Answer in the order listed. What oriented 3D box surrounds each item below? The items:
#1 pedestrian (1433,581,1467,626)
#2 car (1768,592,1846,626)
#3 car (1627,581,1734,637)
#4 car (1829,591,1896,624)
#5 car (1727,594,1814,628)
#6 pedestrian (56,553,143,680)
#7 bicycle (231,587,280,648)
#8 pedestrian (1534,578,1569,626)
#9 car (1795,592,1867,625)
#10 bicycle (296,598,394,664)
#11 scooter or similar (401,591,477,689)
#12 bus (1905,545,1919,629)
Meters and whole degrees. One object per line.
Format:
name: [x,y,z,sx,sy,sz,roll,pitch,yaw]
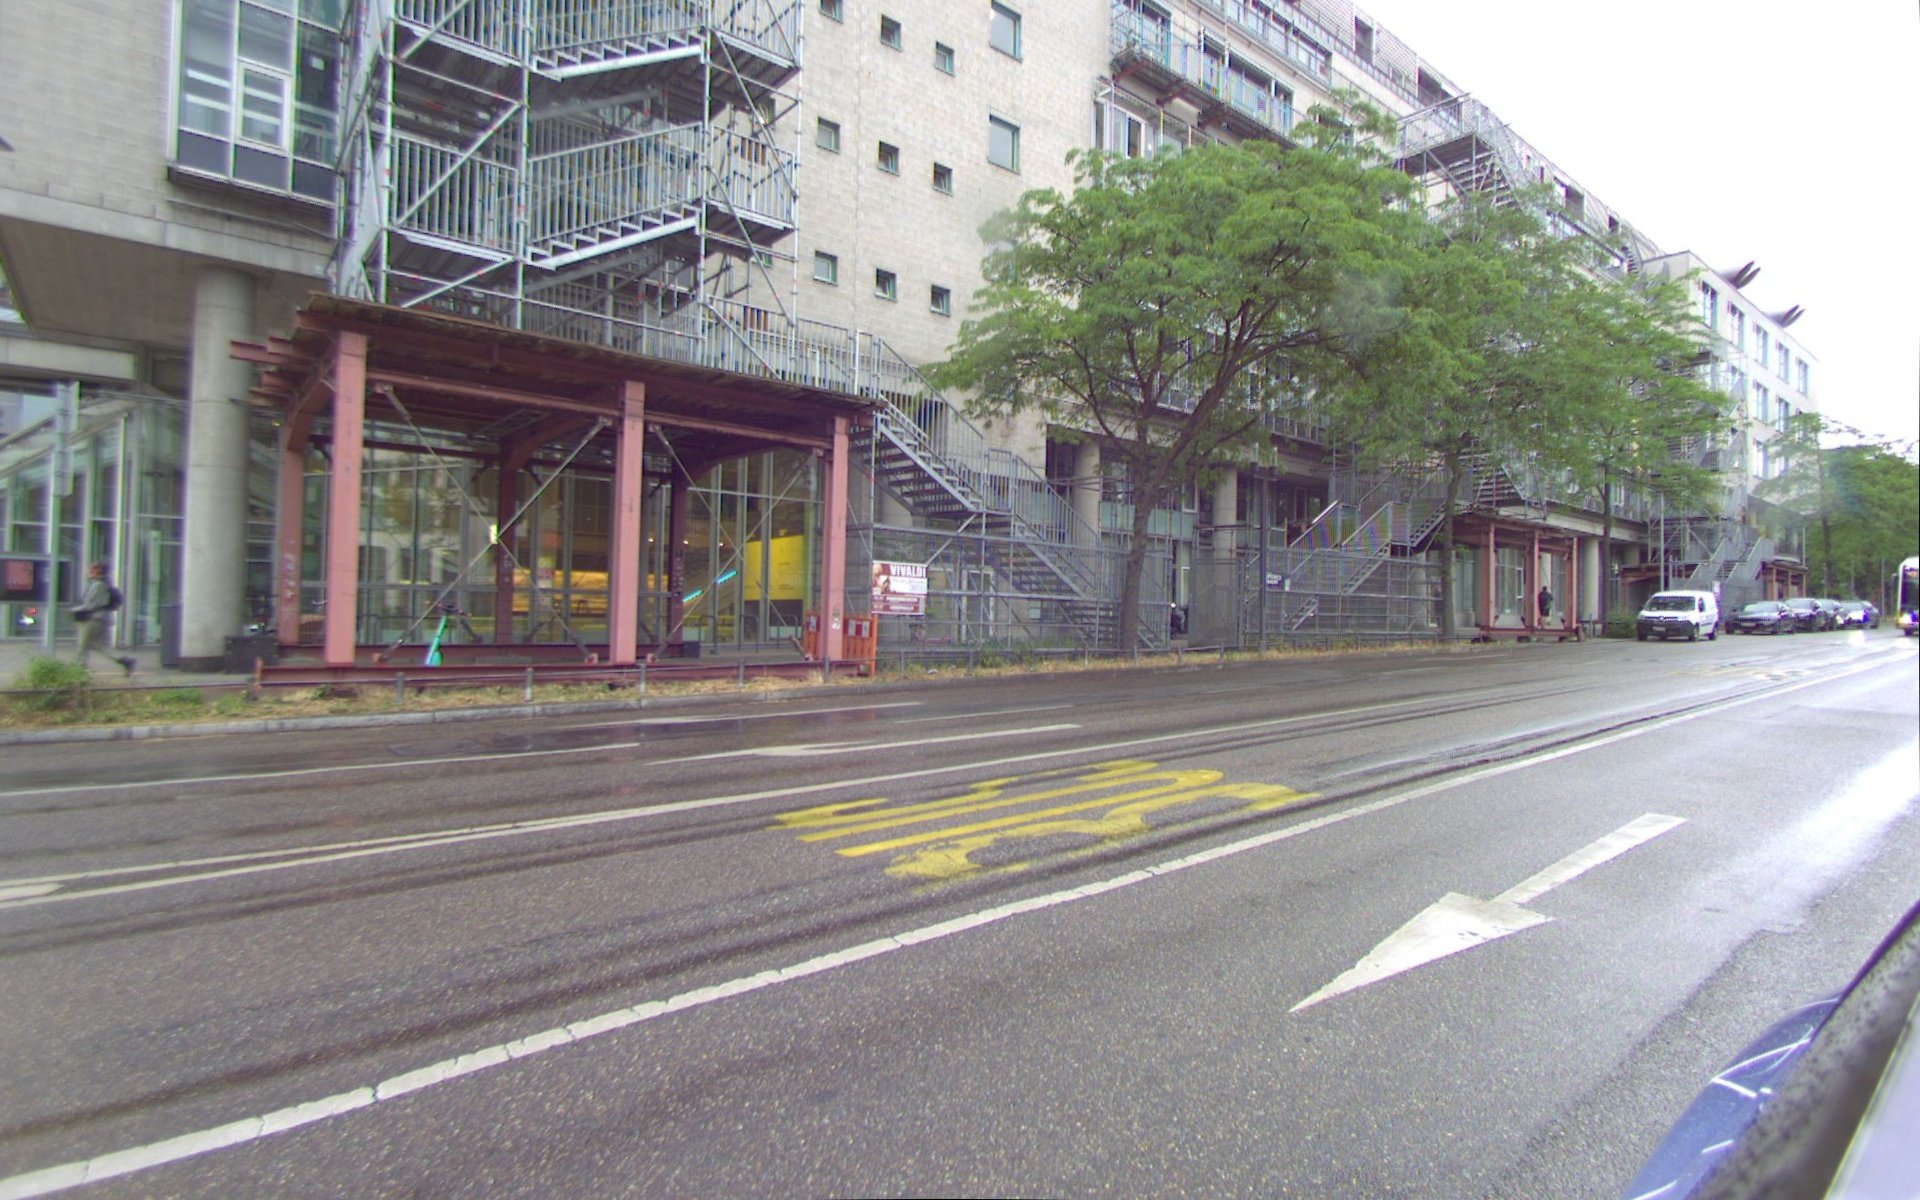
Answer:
pedestrian: [20.086,0.142,41.482,0.832,1.822,1.008,0,0,-44]
car: [40.261,0.404,48.068,4.733,1.513,2.145,-1,1,-41]
car: [26.079,0.279,36.591,4.254,1.930,2.211,-1,0,-41]
car: [48.946,0.365,54.854,4.733,1.667,2.145,-1,0,-41]
car: [35.105,0.436,43.818,4.733,1.353,2.145,-1,1,-41]
pedestrian: [-12.667,0.232,14.903,0.774,1.798,0.783,0,0,31]
bicycle: [-14.444,0.341,20.731,0.577,1.209,1.611,0,0,-44]
pedestrian: [25.529,0.083,43.696,1.021,2.039,1.009,0,0,-41]
car: [44.373,0.376,51.529,4.733,1.580,2.145,-1,1,-41]
bicycle: [-11.975,0.580,19.743,0.580,1.209,1.602,0,0,24]
scooter or similar: [-6.928,0.493,13.419,0.576,1.209,1.782,1,0,-38]
bus: [44.379,-0.579,44.674,9.586,3.494,2.888,-1,0,-41]
